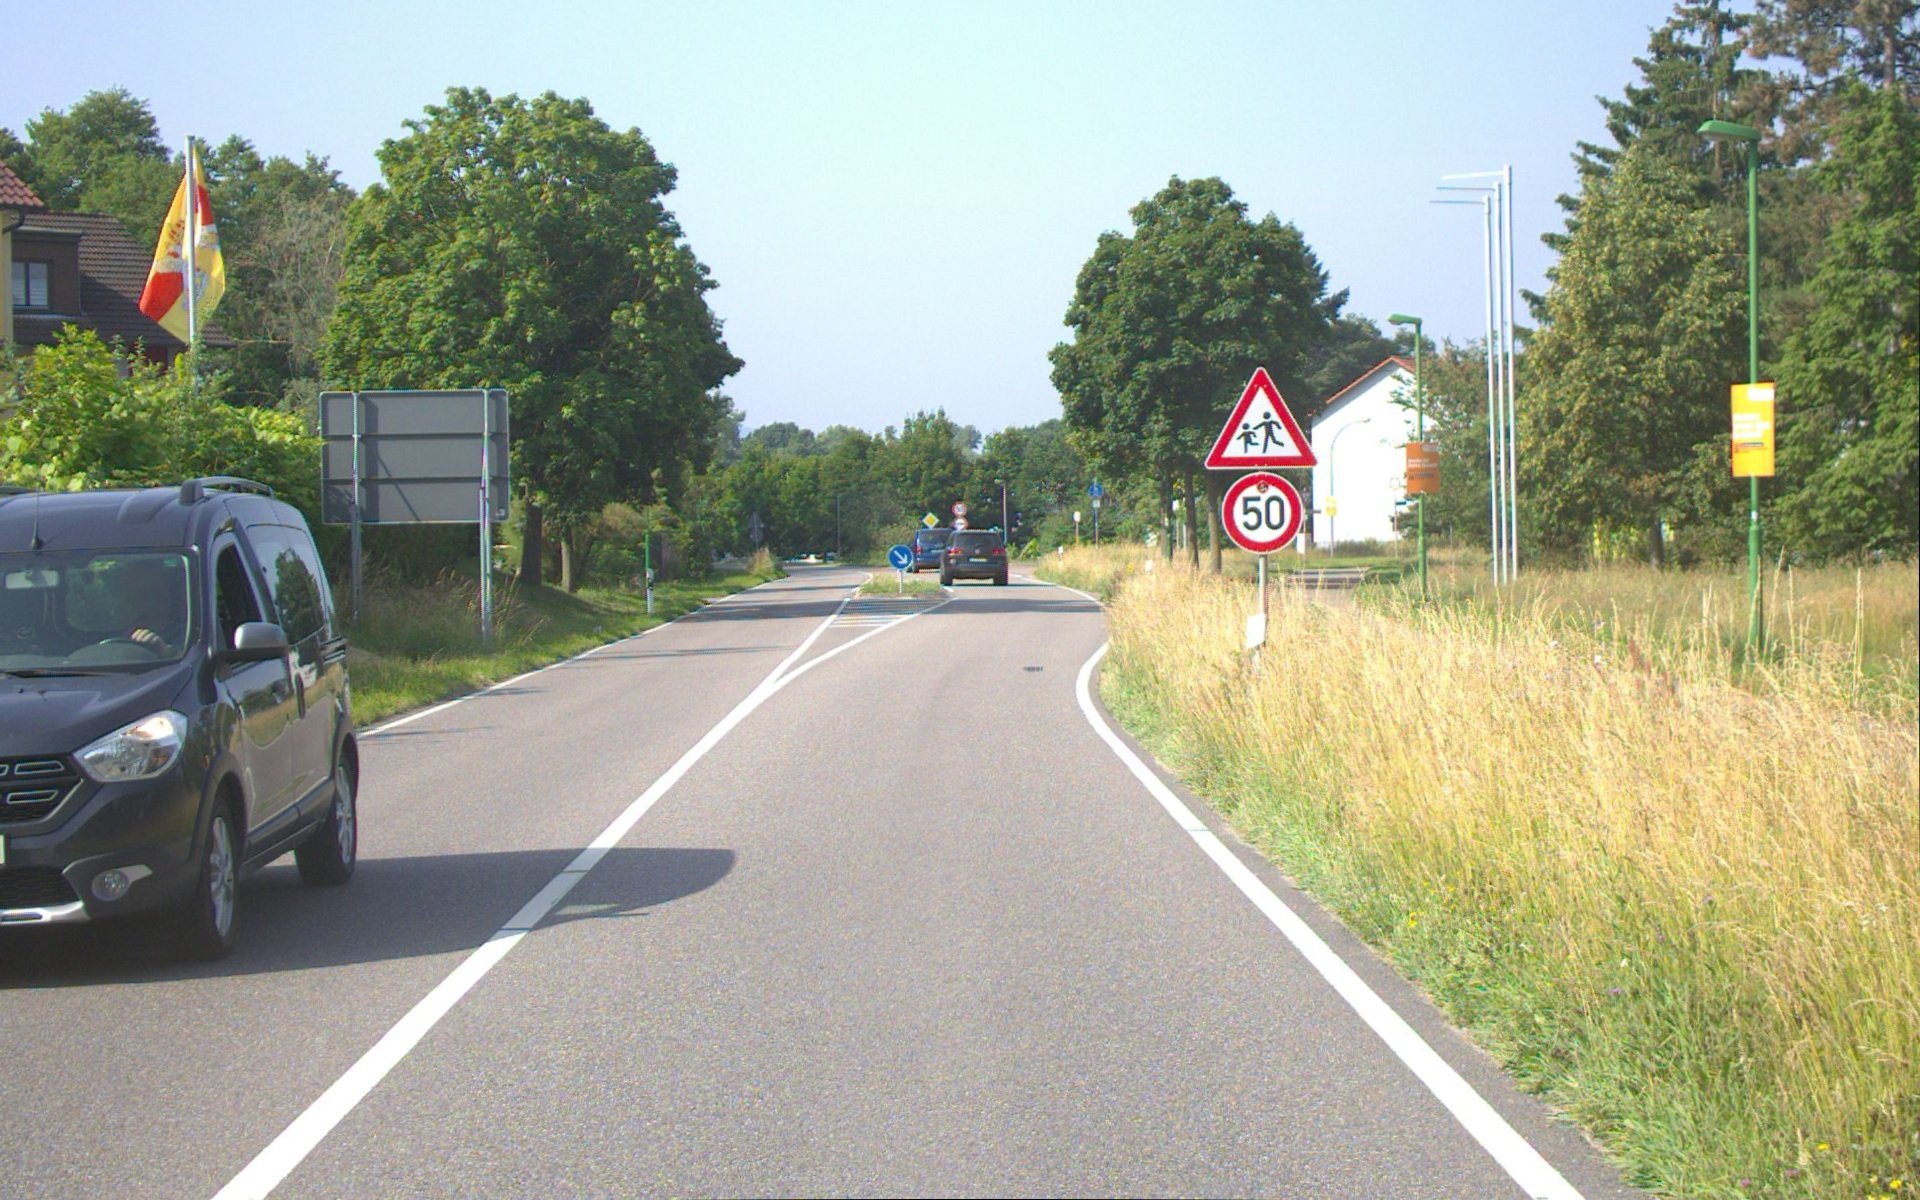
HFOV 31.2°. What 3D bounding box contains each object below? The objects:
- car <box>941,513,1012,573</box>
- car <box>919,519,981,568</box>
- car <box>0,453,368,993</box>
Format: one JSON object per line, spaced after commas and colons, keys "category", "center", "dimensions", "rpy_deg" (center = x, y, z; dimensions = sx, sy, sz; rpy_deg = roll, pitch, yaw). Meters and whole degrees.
{"category": "car", "center": [0.486, -1.740, 104.238], "dimensions": [1.925, 1.765, 4.001], "rpy_deg": [-1, 2, -3]}
{"category": "car", "center": [-0.397, -2.131, 128.164], "dimensions": [2.004, 1.765, 4.001], "rpy_deg": [-1, 2, -4]}
{"category": "car", "center": [-3.623, 0.403, 13.837], "dimensions": [1.939, 1.811, 4.242], "rpy_deg": [-2, 1, -4]}
